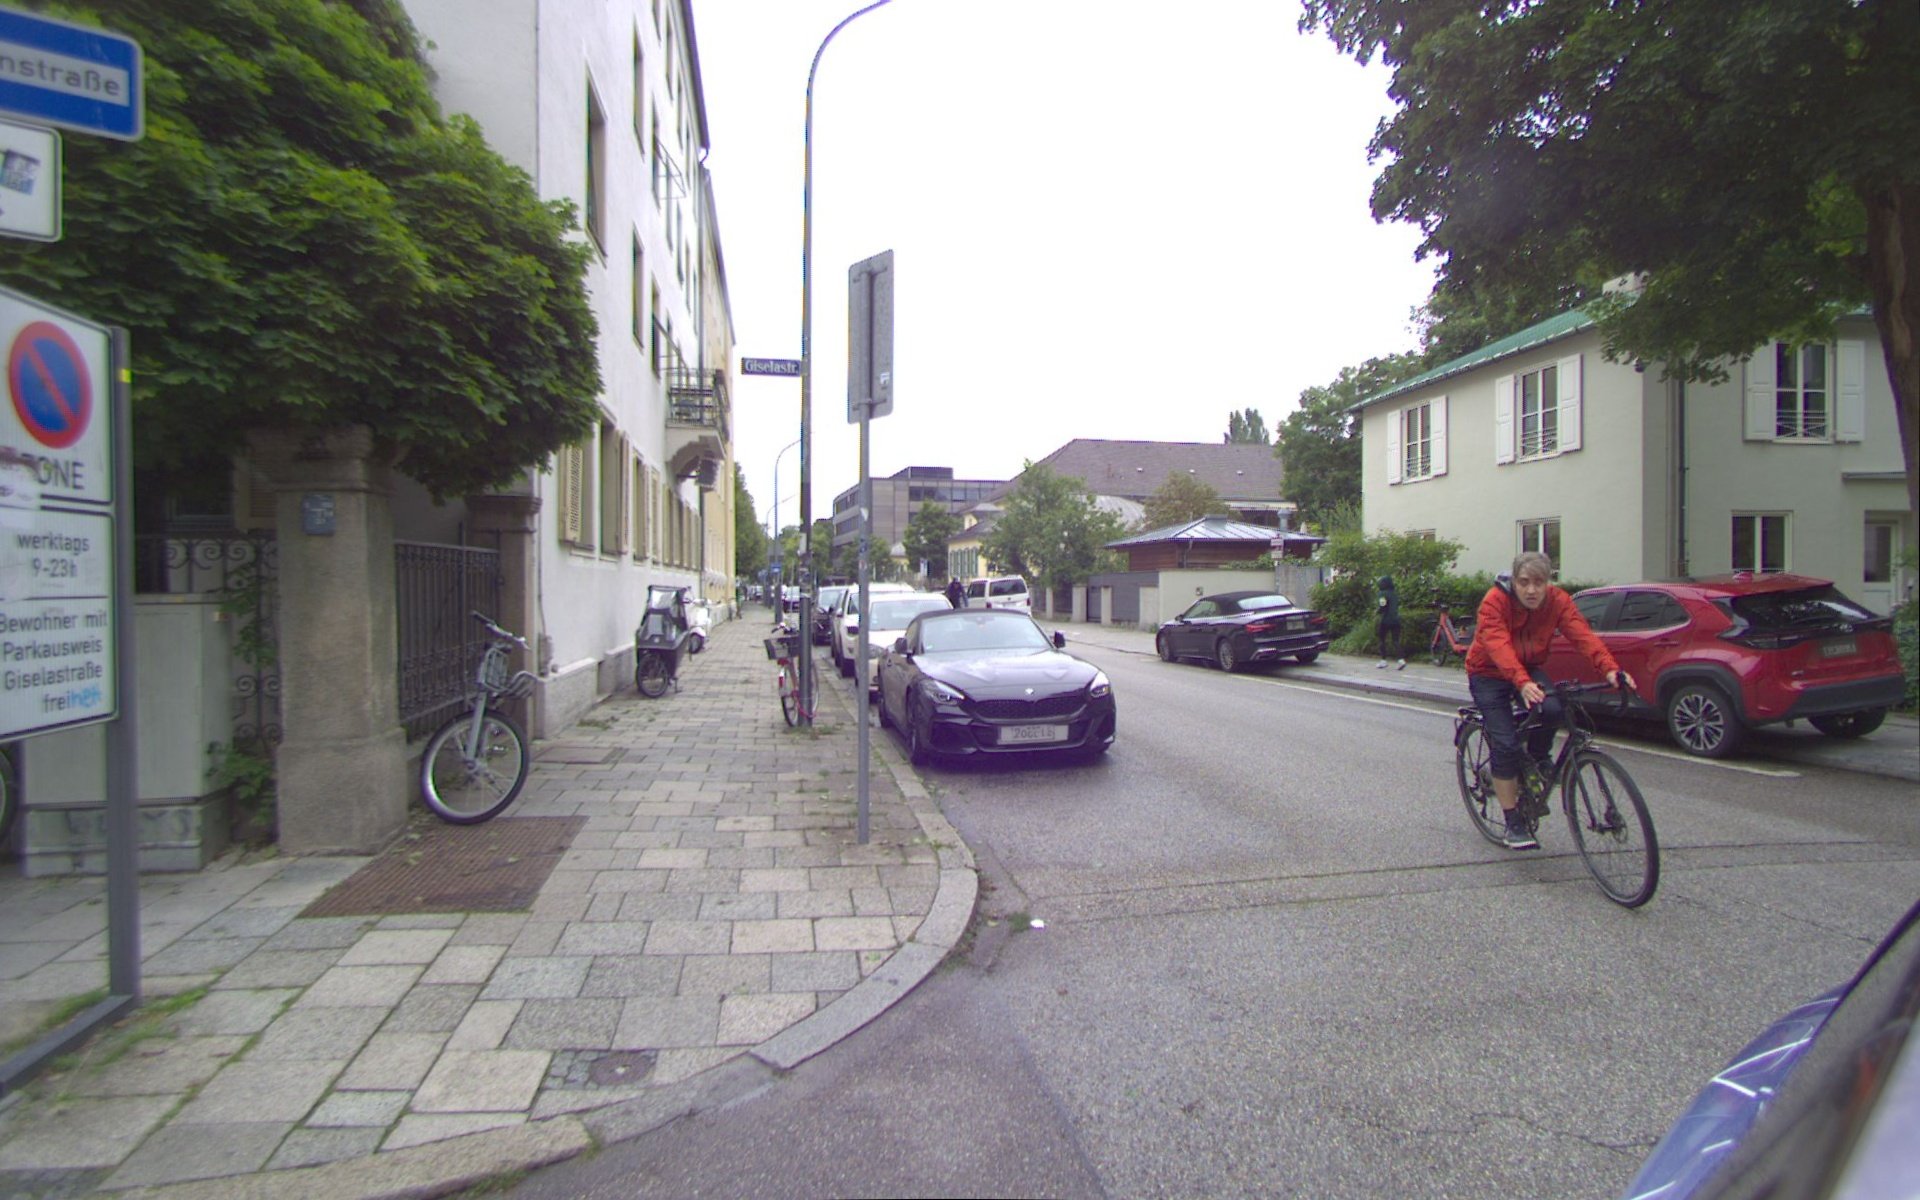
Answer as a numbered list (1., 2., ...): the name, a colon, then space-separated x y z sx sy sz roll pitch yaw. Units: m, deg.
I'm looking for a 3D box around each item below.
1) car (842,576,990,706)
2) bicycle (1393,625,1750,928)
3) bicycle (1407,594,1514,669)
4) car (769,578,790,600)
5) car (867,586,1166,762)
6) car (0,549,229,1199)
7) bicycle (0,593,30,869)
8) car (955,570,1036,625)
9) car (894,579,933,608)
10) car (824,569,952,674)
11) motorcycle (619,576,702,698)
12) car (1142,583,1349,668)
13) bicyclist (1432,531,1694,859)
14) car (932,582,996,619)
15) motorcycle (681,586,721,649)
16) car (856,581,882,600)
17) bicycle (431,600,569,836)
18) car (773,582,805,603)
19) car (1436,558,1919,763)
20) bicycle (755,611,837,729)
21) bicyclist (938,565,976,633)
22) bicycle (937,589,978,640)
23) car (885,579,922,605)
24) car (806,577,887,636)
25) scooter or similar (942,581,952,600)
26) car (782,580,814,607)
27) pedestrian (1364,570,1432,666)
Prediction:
1. car: -0.782 0.498 15.138 1.741 1.565 3.717 -5 2 -8
2. bicycle: 2.992 0.766 5.244 0.662 1.155 2.010 -1 1 2
3. bicycle: 8.274 0.486 16.838 0.638 1.144 2.049 0 1 -4
4. car: -16.500 -1.048 92.436 1.753 1.919 4.583 -2 1 -12
5. car: 0.267 0.579 10.360 1.965 1.335 4.604 2 1 -11
6. car: -3.824 0.678 0.857 4.820 1.551 1.915 0 -2 -10
7. bicycle: -5.413 0.628 4.509 1.879 1.292 0.468 -1 0 -13
8. car: 1.323 -0.159 40.472 1.932 2.015 5.162 -2 1 -13
9. car: -2.882 -0.422 62.043 1.813 1.627 4.751 -2 1 -9
10. car: -1.530 0.328 19.706 1.959 1.728 4.542 -2 1 -10
11. motorcycle: -3.927 0.416 13.450 0.842 1.451 2.712 0 1 -12
12. car: 5.434 0.396 20.065 1.775 1.419 4.934 -2 1 -13
13. bicyclist: 3.005 0.427 5.150 0.743 1.501 0.981 -1 1 2
14. car: 0.109 -0.020 46.334 1.853 1.563 4.706 0 1 -14
15. motorcycle: -5.623 0.351 22.094 0.719 1.254 2.011 -1 1 -11
16. car: -7.783 -0.806 86.239 1.694 1.510 4.470 -2 1 -12
17. bicycle: -2.878 0.649 6.475 0.532 1.241 1.781 0 1 -16
18. car: -12.796 -0.575 75.574 1.958 1.478 4.967 -2 1 -13
19. car: 7.237 0.429 10.479 1.854 1.610 4.536 -2 1 -11
20. bicycle: -1.691 0.686 10.688 0.652 1.077 1.940 0 1 -3
21. bicyclist: -0.084 -0.028 25.794 0.765 1.688 1.036 -1 0 -11
22. bicycle: -0.077 0.362 25.833 0.706 1.221 1.804 -1 0 -10
23. car: -3.895 -0.576 68.900 1.869 1.712 4.817 -2 1 -10
24. car: -3.486 0.147 30.286 1.827 1.597 4.909 1 1 -13
25. scooter or similar: -0.933 -0.681 73.232 0.371 1.360 1.346 0 1 15
26. car: -10.631 -0.469 66.260 1.959 1.651 5.108 -2 1 -9
27. pedestrian: 7.364 0.288 17.051 0.701 1.567 0.754 -2 1 -13
